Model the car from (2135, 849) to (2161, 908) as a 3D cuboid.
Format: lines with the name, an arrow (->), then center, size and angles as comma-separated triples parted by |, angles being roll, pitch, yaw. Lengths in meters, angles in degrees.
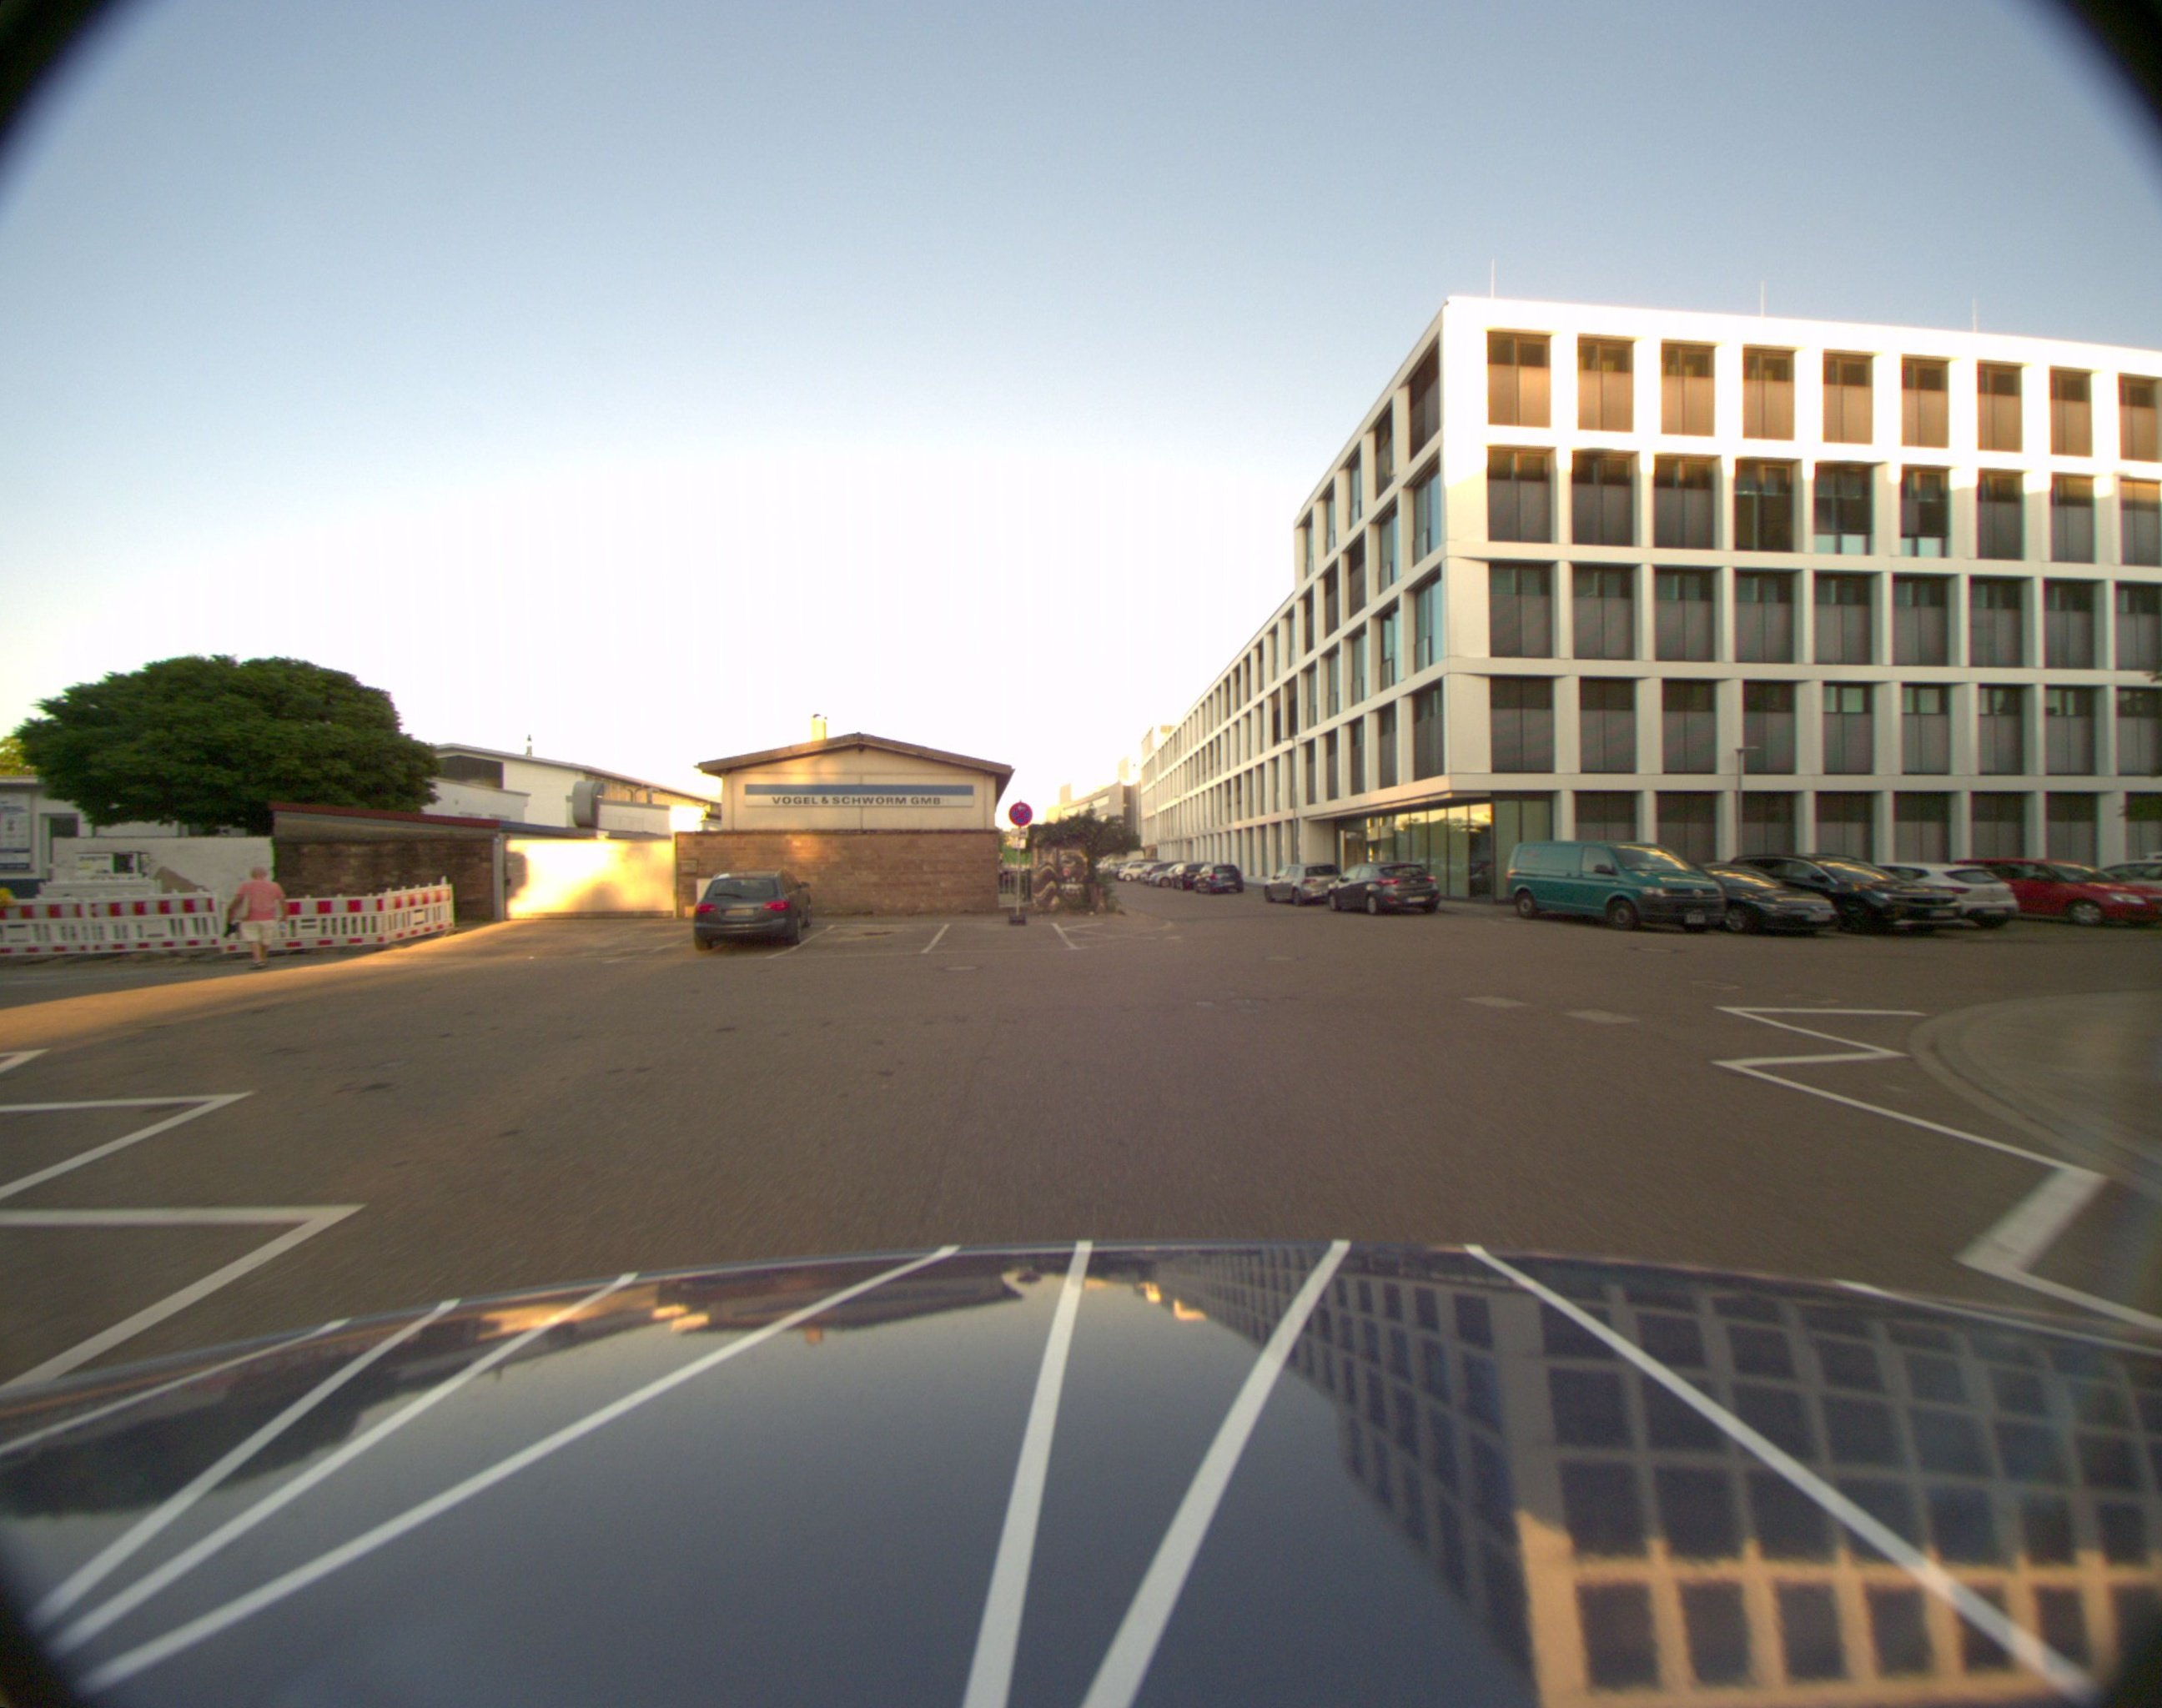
car -> 30.749, 0.701, 19.238 | 1.734, 1.603, 4.461 | -1, 2, -5

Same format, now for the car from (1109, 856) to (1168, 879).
car -> 4.632, 1.111, 62.160 | 4.630, 1.696, 2.005 | -2, -1, 0

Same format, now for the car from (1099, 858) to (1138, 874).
car -> 3.759, 1.223, 76.012 | 3.718, 1.486, 1.707 | -2, -1, -4

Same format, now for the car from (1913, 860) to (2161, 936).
car -> 23.131, 0.942, 18.129 | 1.734, 1.448, 4.196 | -1, 2, -5

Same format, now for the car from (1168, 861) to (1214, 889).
car -> 6.222, 1.154, 43.444 | 1.653, 1.430, 4.200 | -4, 0, -4

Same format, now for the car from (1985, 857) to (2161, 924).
car -> 25.796, 0.867, 18.763 | 1.734, 1.448, 4.196 | -1, 2, -5

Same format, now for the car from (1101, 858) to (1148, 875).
car -> 4.187, 1.192, 73.392 | 4.319, 1.486, 1.794 | -2, -1, -2

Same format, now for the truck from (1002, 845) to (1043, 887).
truck -> -3.270, 0.694, 41.994 | 2.104, 2.187, 5.710 | 0, -2, -5

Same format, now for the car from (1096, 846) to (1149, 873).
car -> 4.410, 0.571, 80.633 | 5.395, 2.617, 2.078 | -2, -1, -2

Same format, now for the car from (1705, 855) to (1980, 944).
car -> 17.065, 0.919, 17.403 | 1.734, 1.650, 4.327 | -1, 2, -5

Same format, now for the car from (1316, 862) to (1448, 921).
car -> 8.597, 1.010, 22.150 | 1.785, 1.470, 4.329 | -2, 0, -5

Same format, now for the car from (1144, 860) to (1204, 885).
car -> 6.076, 1.182, 50.031 | 3.665, 1.502, 1.687 | -2, -1, -3

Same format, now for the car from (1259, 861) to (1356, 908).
car -> 8.105, 1.050, 27.623 | 1.715, 1.470, 4.182 | -4, 0, -8

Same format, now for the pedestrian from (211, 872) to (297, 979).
pedestrian -> -13.422, 1.135, 12.343 | 0.628, 1.655, 0.788 | -1, -2, 26

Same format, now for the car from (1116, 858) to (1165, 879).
car -> 4.667, 1.147, 59.676 | 3.676, 1.502, 1.696 | -2, -1, 0

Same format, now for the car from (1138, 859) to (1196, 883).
car -> 5.887, 1.136, 52.272 | 3.665, 1.502, 1.687 | -2, -1, -3

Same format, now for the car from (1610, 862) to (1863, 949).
car -> 14.599, 1.050, 17.322 | 1.785, 1.541, 4.327 | -1, 2, -5

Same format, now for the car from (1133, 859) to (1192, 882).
car -> 5.874, 1.170, 55.135 | 3.975, 1.502, 1.796 | -2, -1, -2

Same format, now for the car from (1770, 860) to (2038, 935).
car -> 19.592, 0.946, 18.420 | 1.734, 1.448, 4.196 | -1, 2, -5

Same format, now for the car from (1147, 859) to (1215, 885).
car -> 6.210, 1.119, 47.323 | 3.937, 1.502, 1.687 | -2, -1, -3

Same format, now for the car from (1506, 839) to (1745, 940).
car -> 12.053, 0.690, 17.315 | 1.803, 1.968, 4.686 | -1, 0, -6

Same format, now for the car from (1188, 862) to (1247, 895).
car -> 6.633, 1.162, 37.444 | 1.653, 1.430, 4.182 | -4, 0, -6

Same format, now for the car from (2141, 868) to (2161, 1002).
car -> 15.045, 0.888, 8.528 | 4.019, 1.607, 1.881 | 0, -4, -7

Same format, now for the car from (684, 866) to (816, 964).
car -> -6.585, 1.090, 15.632 | 1.833, 1.522, 4.721 | 0, 1, -16
